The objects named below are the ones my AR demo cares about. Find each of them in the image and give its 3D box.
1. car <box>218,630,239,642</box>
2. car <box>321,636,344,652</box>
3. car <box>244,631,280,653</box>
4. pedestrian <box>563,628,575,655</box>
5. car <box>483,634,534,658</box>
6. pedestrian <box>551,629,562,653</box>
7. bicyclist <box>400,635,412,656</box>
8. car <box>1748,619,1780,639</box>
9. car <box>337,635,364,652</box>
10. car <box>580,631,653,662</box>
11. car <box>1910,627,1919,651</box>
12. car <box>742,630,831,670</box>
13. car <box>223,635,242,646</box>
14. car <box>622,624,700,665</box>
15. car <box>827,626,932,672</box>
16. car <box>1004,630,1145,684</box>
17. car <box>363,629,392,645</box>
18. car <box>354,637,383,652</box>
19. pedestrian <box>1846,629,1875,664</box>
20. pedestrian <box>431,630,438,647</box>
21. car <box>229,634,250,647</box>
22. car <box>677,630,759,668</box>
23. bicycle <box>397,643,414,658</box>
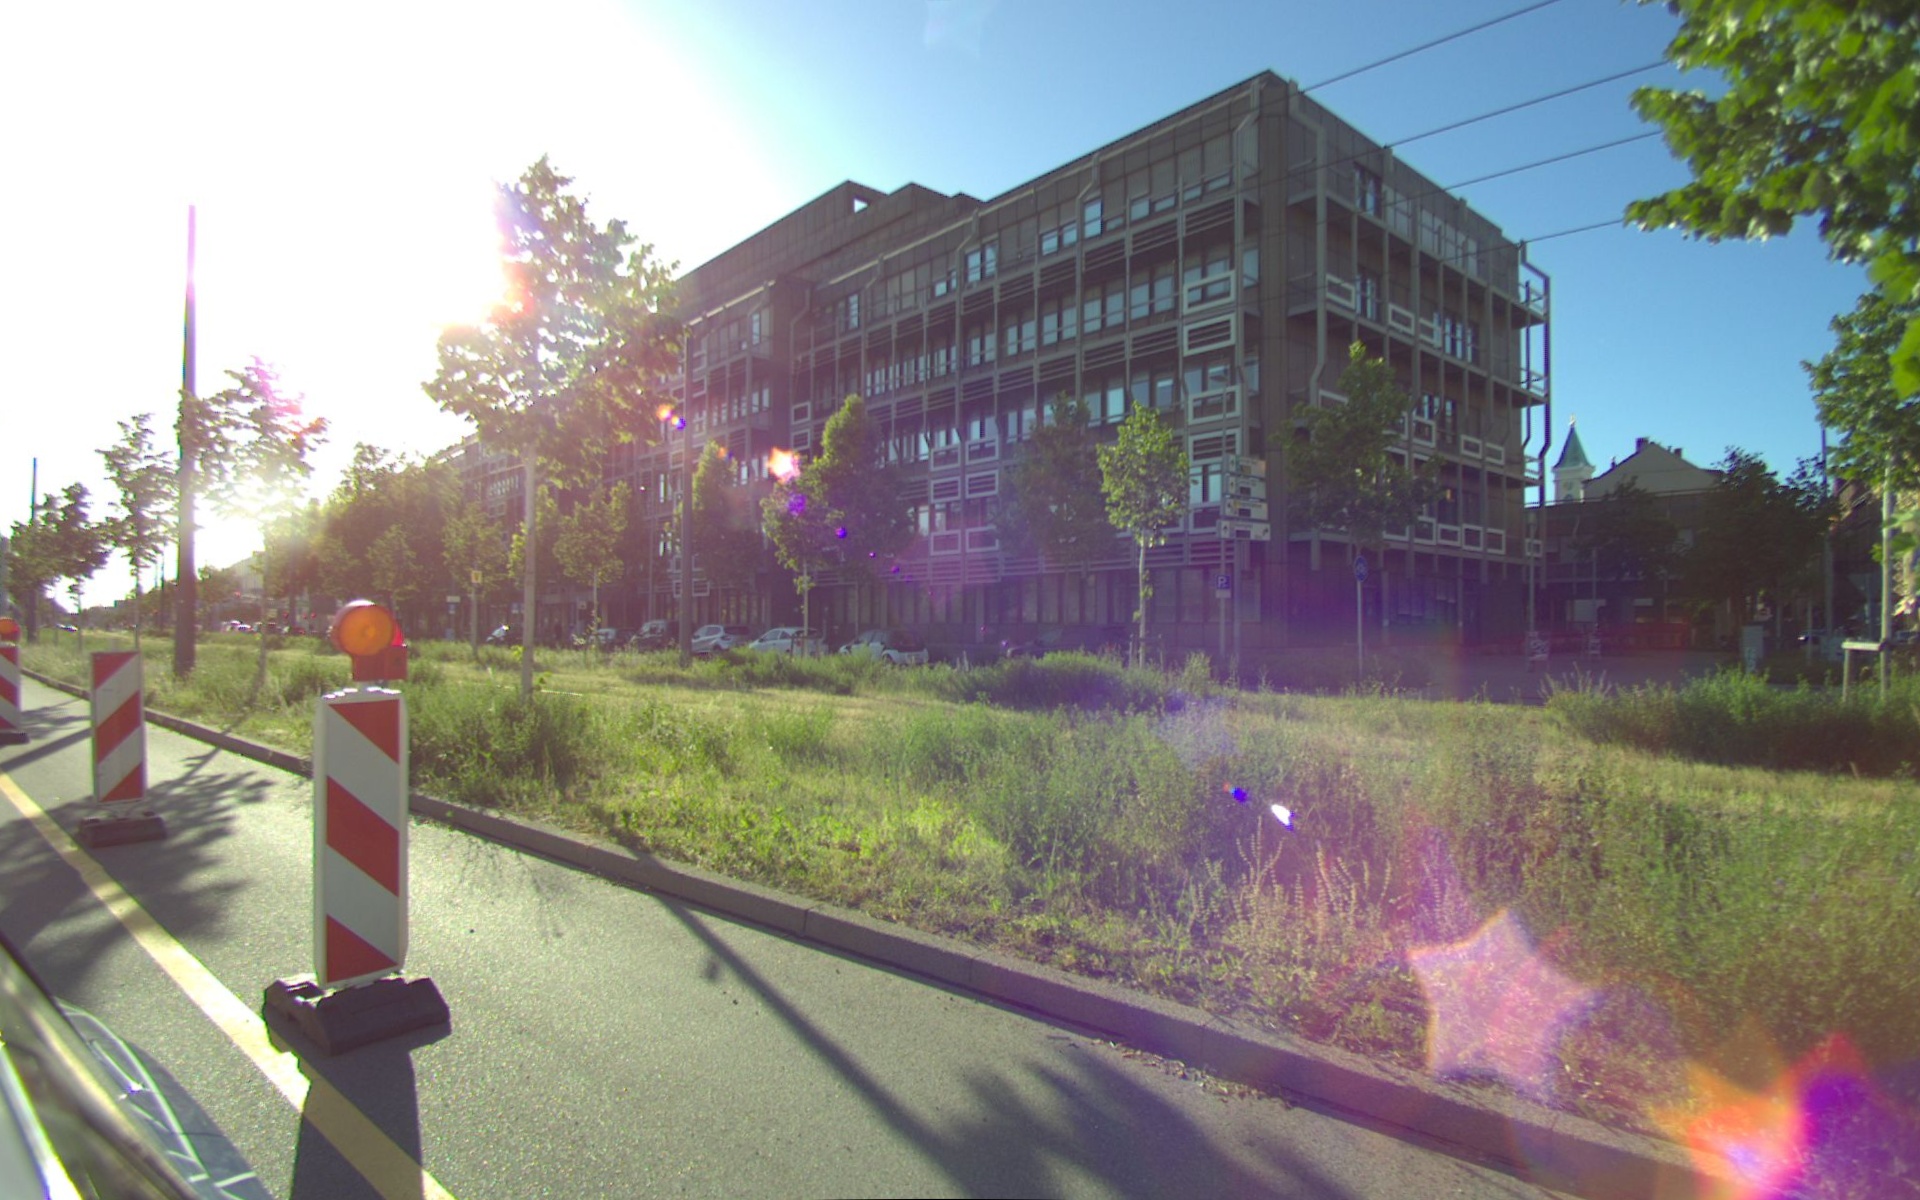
[{"bbox_3d":[-97.739,4.807,135.186,1.838,1.694,3.785,2,-3,-41],"label":"car"},{"bbox_3d":[-69.436,4.850,112.016,1.489,1.614,3.530,-1,-1,-43],"label":"car"},{"bbox_3d":[-58.112,3.483,84.232,4.123,1.760,1.708,-2,-2,45],"label":"car"},{"bbox_3d":[-25.487,2.702,65.987,0.514,1.735,0.537,2,-3,-40],"label":"pedestrian"},{"bbox_3d":[-27.853,2.822,62.354,1.695,1.397,4.044,-1,-1,-42],"label":"car"},{"bbox_3d":[-26.151,2.651,65.558,0.514,1.590,0.537,2,-3,-40],"label":"pedestrian"},{"bbox_3d":[-39.248,3.246,71.720,0.558,1.468,0.706,3,-4,-44],"label":"bicyclist"},{"bbox_3d":[67.126,2.445,84.545,1.853,1.586,3.952,-1,-2,35],"label":"car"},{"bbox_3d":[-65.561,4.673,108.852,1.701,1.614,3.634,-1,-2,-43],"label":"car"},{"bbox_3d":[-17.463,2.344,51.310,1.709,1.480,4.507,0,-1,-44],"label":"car"},{"bbox_3d":[57.310,2.254,59.540,1.569,1.389,3.652,-2,-3,36],"label":"car"},{"bbox_3d":[-6.842,1.938,39.716,1.605,1.452,3.822,0,-1,-43],"label":"car"},{"bbox_3d":[-92.715,5.112,128.942,1.532,1.390,3.785,2,-3,-41],"label":"car"},{"bbox_3d":[-13.982,2.062,47.187,1.730,1.785,4.335,0,-2,-43],"label":"car"},{"bbox_3d":[-2.916,1.715,36.134,1.629,1.566,3.970,1,-2,-43],"label":"car"},{"bbox_3d":[3.327,1.629,29.913,3.900,1.472,1.711,-2,-1,43],"label":"car"},{"bbox_3d":[-57.897,3.650,100.536,1.701,1.555,3.634,-1,-1,-43],"label":"car"},{"bbox_3d":[-61.363,4.592,105.004,3.632,1.497,1.702,-2,-3,44],"label":"car"},{"bbox_3d":[39.801,2.039,44.716,0.730,1.527,0.614,-1,-2,17],"label":"pedestrian"},{"bbox_3d":[-55.417,4.099,106.811,0.476,1.763,0.640,2,-3,-41],"label":"pedestrian"},{"bbox_3d":[-85.878,4.829,120.555,1.608,1.507,3.785,2,-3,-41],"label":"car"},{"bbox_3d":[-10.425,2.081,43.499,1.717,1.548,3.888,0,-2,-43],"label":"car"},{"bbox_3d":[-39.359,3.585,71.817,0.558,1.105,1.772,3,-4,-44],"label":"bicycle"}]
